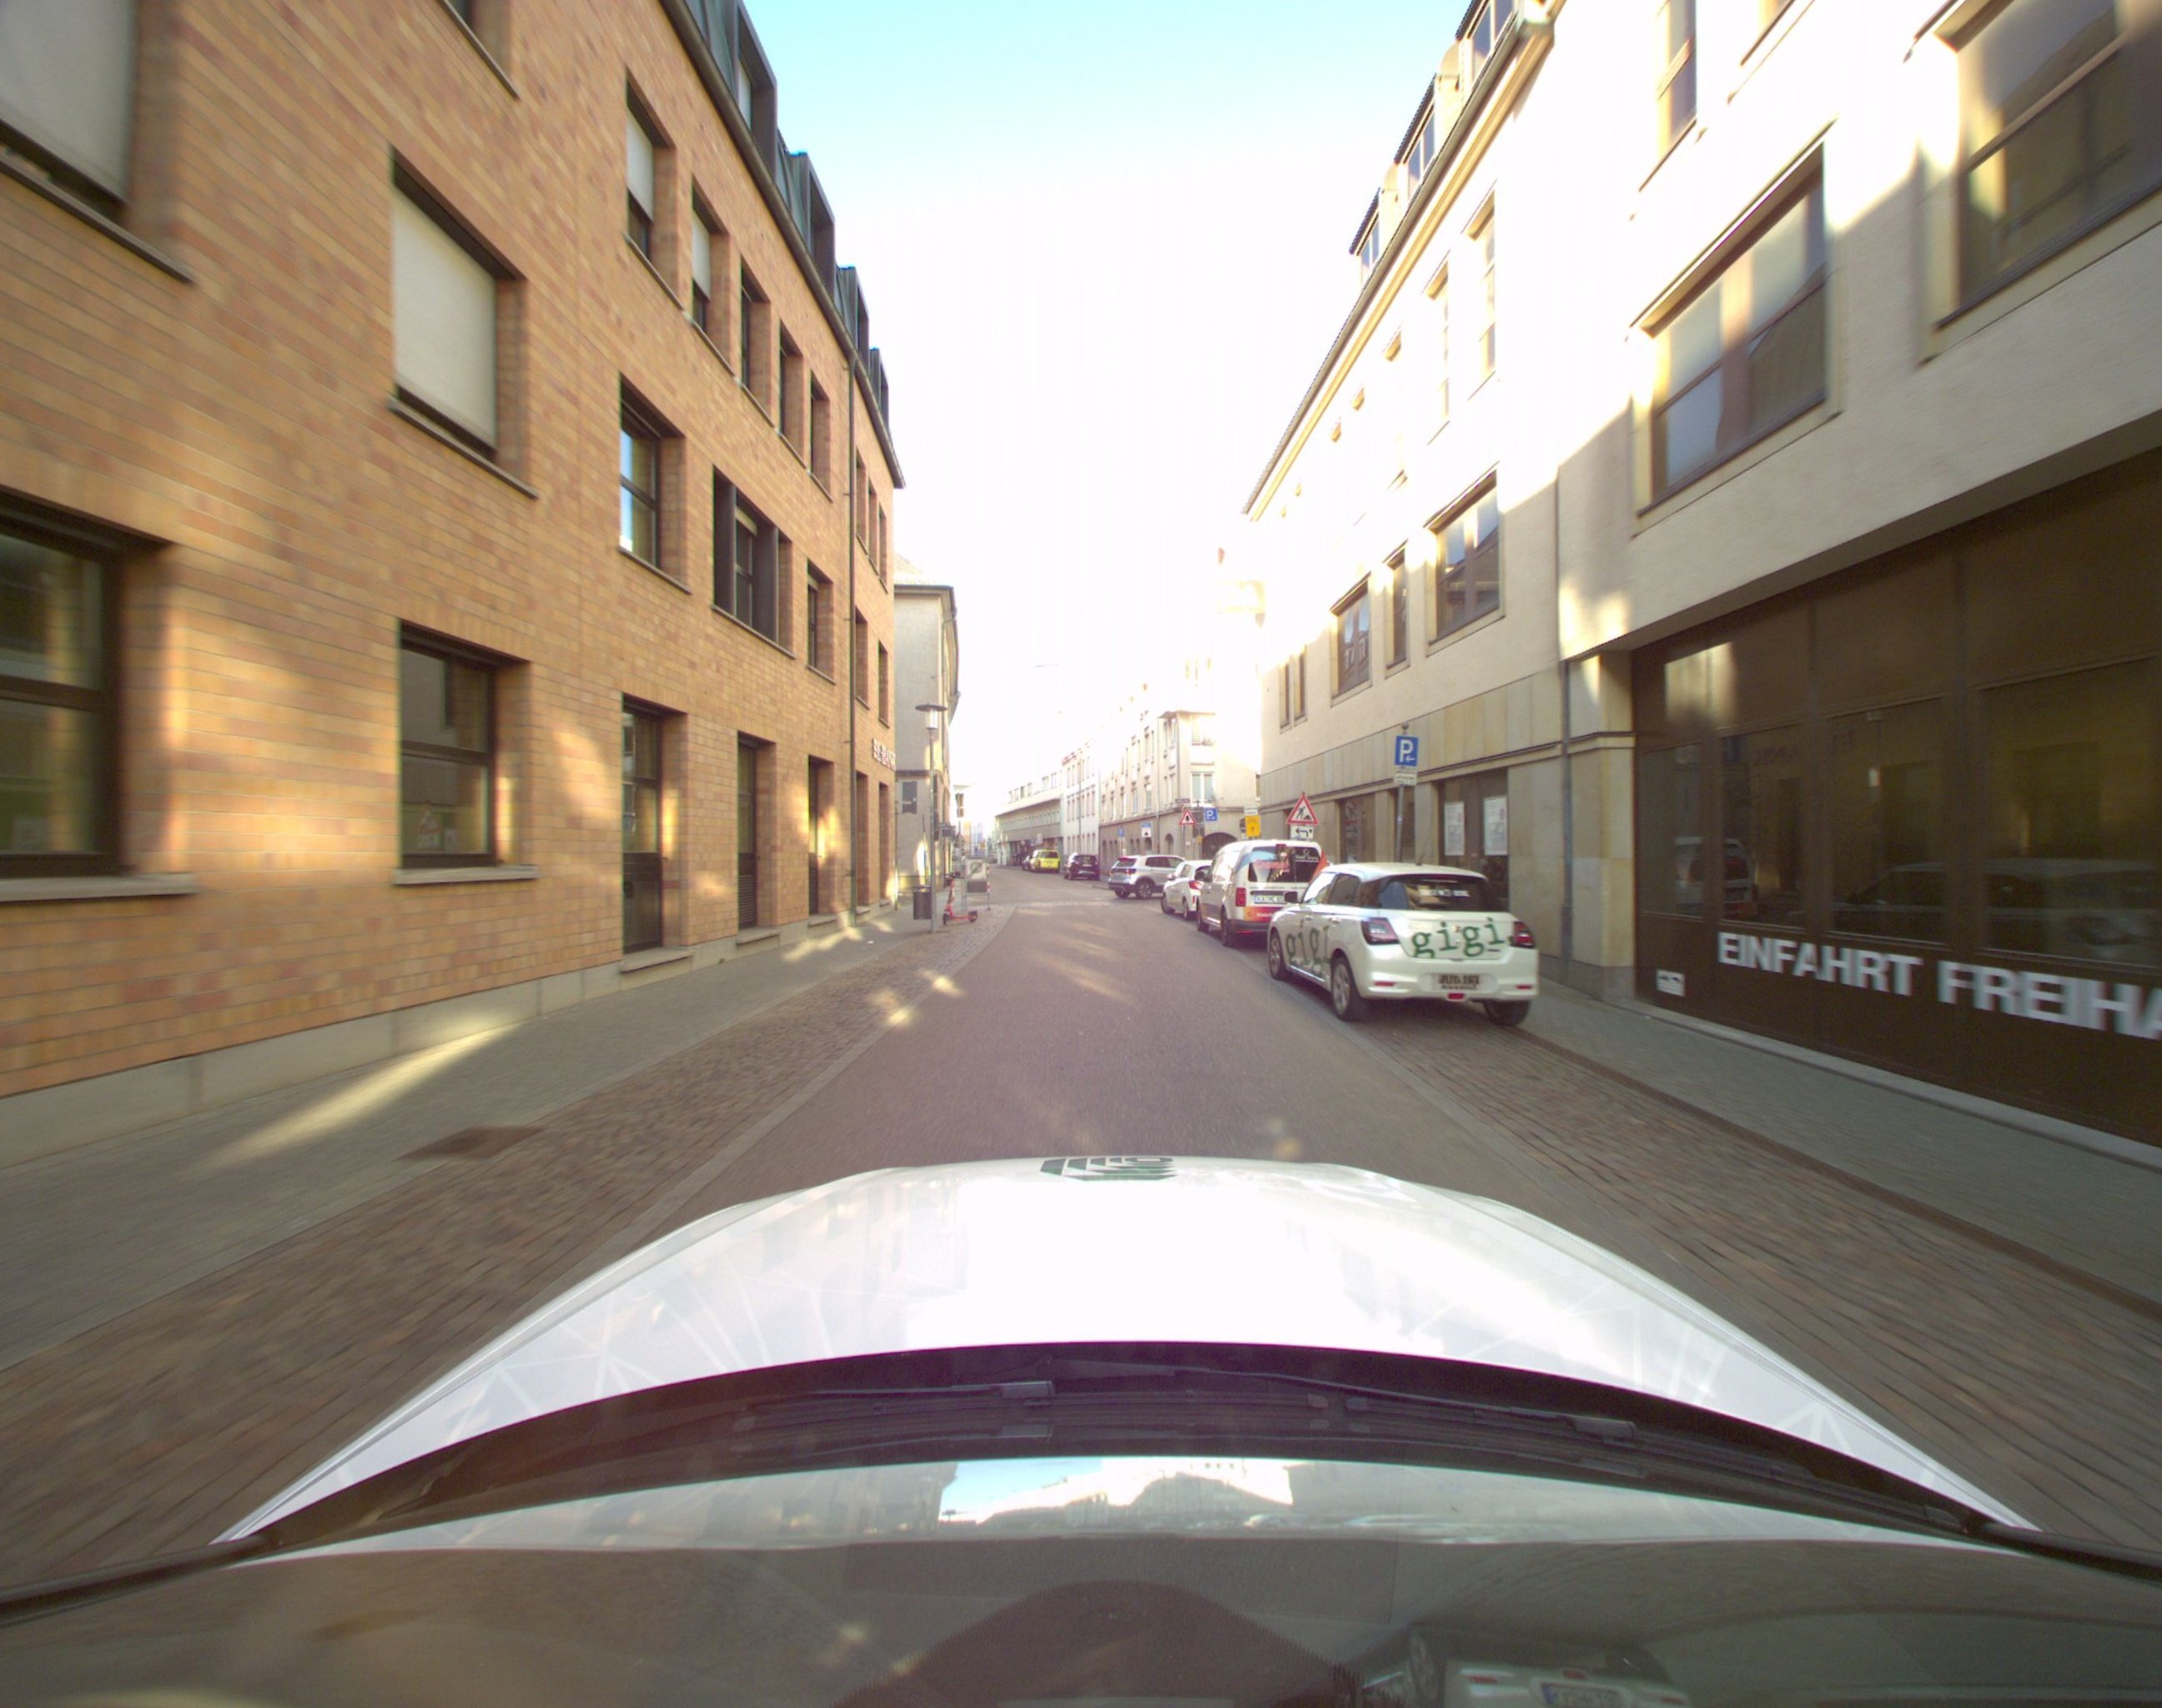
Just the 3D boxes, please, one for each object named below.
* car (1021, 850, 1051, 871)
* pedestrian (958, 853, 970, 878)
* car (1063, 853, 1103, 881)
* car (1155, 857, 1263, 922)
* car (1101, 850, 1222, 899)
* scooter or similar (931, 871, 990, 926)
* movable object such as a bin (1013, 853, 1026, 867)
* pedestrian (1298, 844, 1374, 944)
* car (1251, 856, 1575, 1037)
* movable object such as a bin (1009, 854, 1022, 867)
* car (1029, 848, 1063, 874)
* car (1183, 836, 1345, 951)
[{"bbox_3d":[-4.070,0.569,73.331,2.055,1.873,4.082,0,0,-13],"label":"car"},{"bbox_3d":[-8.088,0.778,56.382,0.767,1.724,0.683,0,0,-14],"label":"pedestrian"},{"bbox_3d":[0.073,0.770,51.181,1.967,1.692,4.090,1,0,-8],"label":"car"},{"bbox_3d":[3.220,0.836,21.317,1.885,1.518,4.055,0,0,-5],"label":"car"},{"bbox_3d":[2.906,0.693,29.312,4.010,1.562,1.826,-1,0,-28],"label":"car"},{"bbox_3d":[-2.867,1.046,19.490,0.691,1.217,1.365,-1,0,27],"label":"scooter or similar"},{"bbox_3d":[-6.932,0.698,91.702,1.134,1.558,1.730,0,0,-16],"label":"movable object such as a bin"},{"bbox_3d":[4.742,0.721,15.232,1.039,1.801,1.198,0,-1,-1],"label":"pedestrian"},{"bbox_3d":[3.291,0.806,9.067,1.835,1.478,4.166,2,0,-1],"label":"car"},{"bbox_3d":[-7.532,0.725,93.390,1.134,1.479,1.730,0,0,-16],"label":"movable object such as a bin"},{"bbox_3d":[-2.928,0.561,67.574,2.055,2.013,4.156,0,0,-13],"label":"car"},{"bbox_3d":[3.201,0.630,15.372,1.825,1.791,5.212,0,0,-1],"label":"car"}]
